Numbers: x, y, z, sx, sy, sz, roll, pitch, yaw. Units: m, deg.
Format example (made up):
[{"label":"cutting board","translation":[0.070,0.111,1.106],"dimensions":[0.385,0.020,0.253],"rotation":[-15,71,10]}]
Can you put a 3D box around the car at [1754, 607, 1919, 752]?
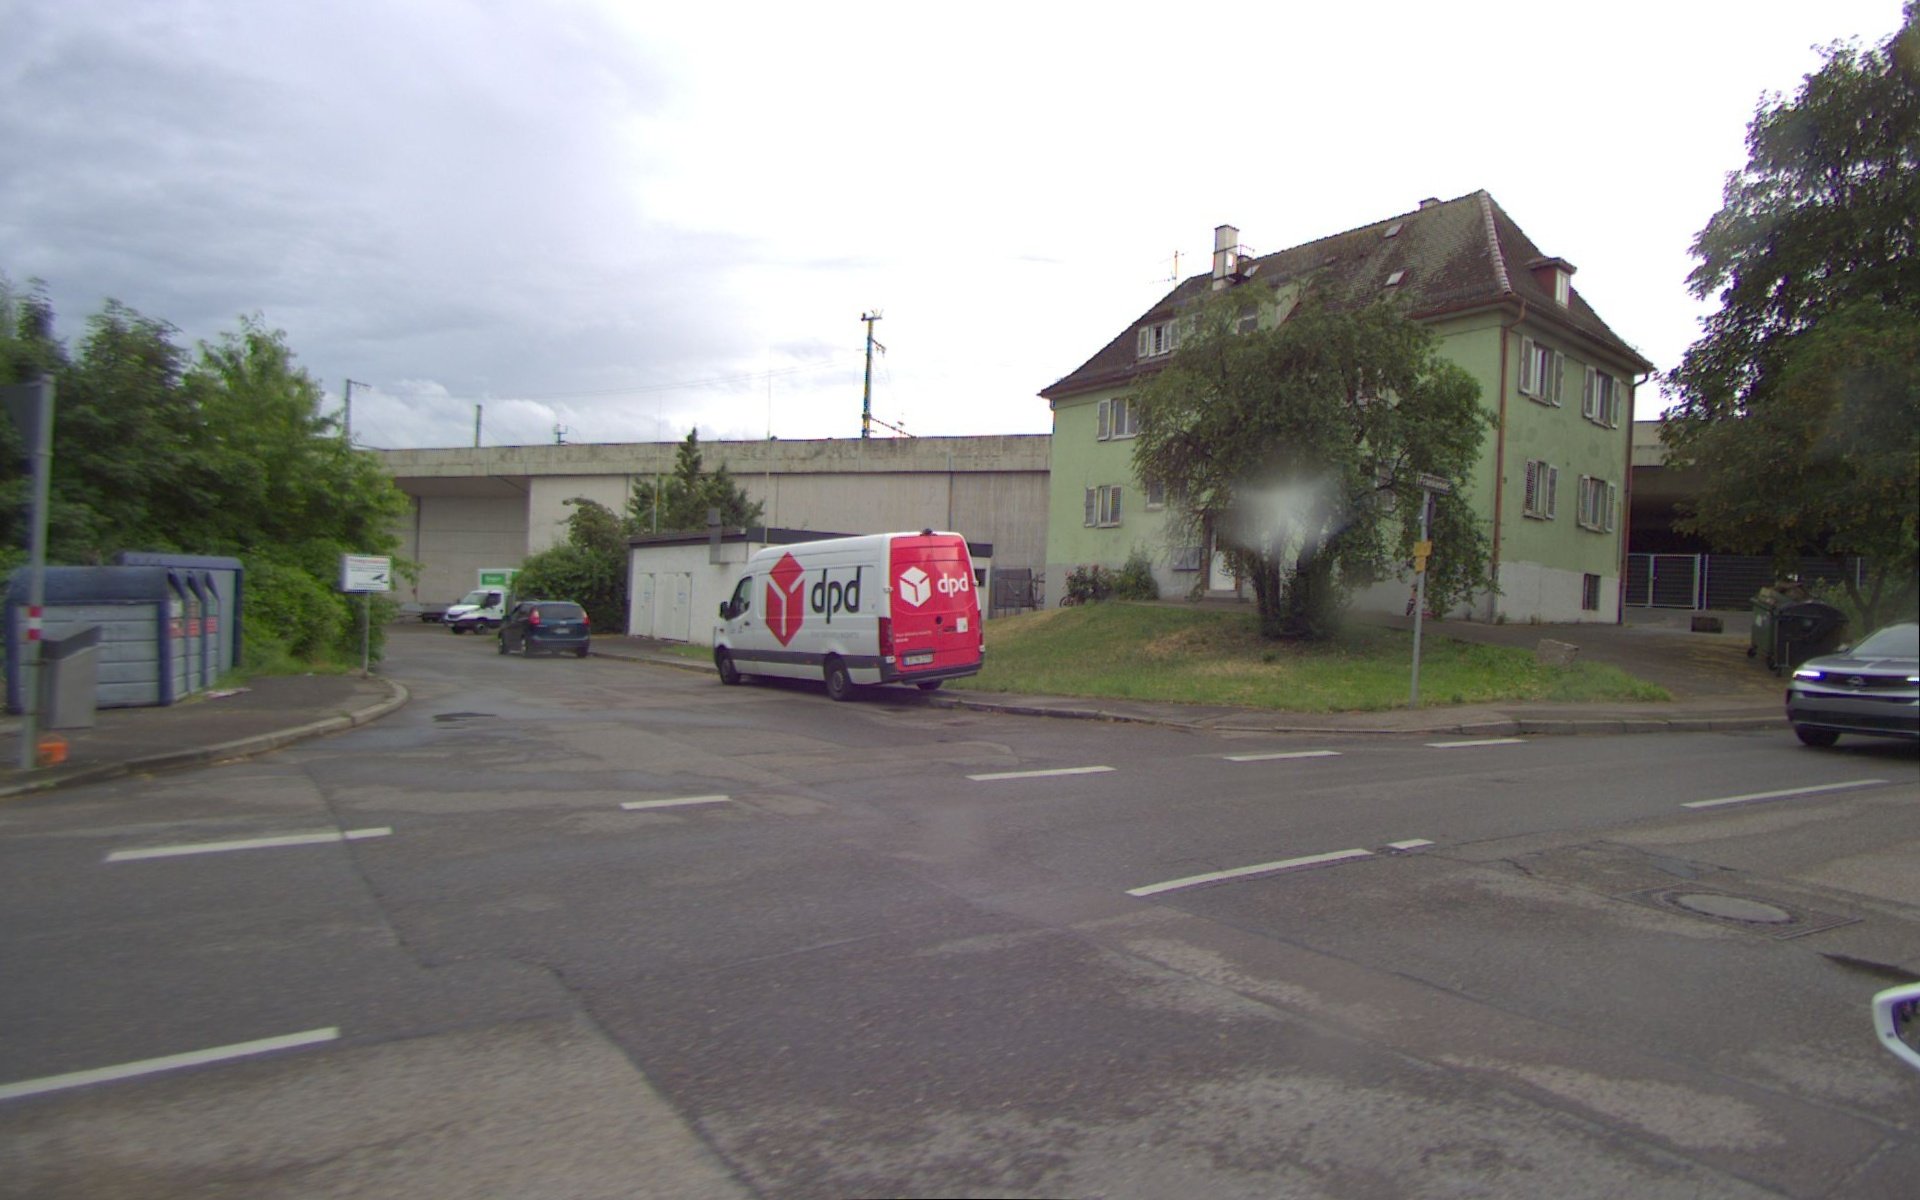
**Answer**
[{"label":"car","translation":[11.478,0.832,11.658],"dimensions":[3.942,1.481,1.891],"rotation":[0,0,-22]}]

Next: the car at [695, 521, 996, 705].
[{"label":"car","translation":[-2.356,0.157,18.063],"dimensions":[2.242,2.691,6.750],"rotation":[0,0,-37]}]

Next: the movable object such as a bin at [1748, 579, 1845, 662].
[{"label":"movable object such as a bin","translation":[16.969,0.379,20.432],"dimensions":[1.080,1.458,1.460],"rotation":[4,7,25]}]

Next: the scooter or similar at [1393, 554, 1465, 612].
[{"label":"scooter or similar","translation":[11.142,-0.415,23.906],"dimensions":[0.522,1.291,1.517],"rotation":[1,4,-22]}]

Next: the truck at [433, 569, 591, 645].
[{"label":"truck","translation":[-23.697,0.365,53.523],"dimensions":[2.362,3.749,7.582],"rotation":[1,0,35]}]

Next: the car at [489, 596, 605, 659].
[{"label":"car","translation":[-12.170,0.747,29.433],"dimensions":[1.984,1.651,4.203],"rotation":[0,0,-40]}]

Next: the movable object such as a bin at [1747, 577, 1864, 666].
[{"label":"movable object such as a bin","translation":[16.126,0.378,19.222],"dimensions":[1.270,1.458,1.460],"rotation":[4,7,25]}]
